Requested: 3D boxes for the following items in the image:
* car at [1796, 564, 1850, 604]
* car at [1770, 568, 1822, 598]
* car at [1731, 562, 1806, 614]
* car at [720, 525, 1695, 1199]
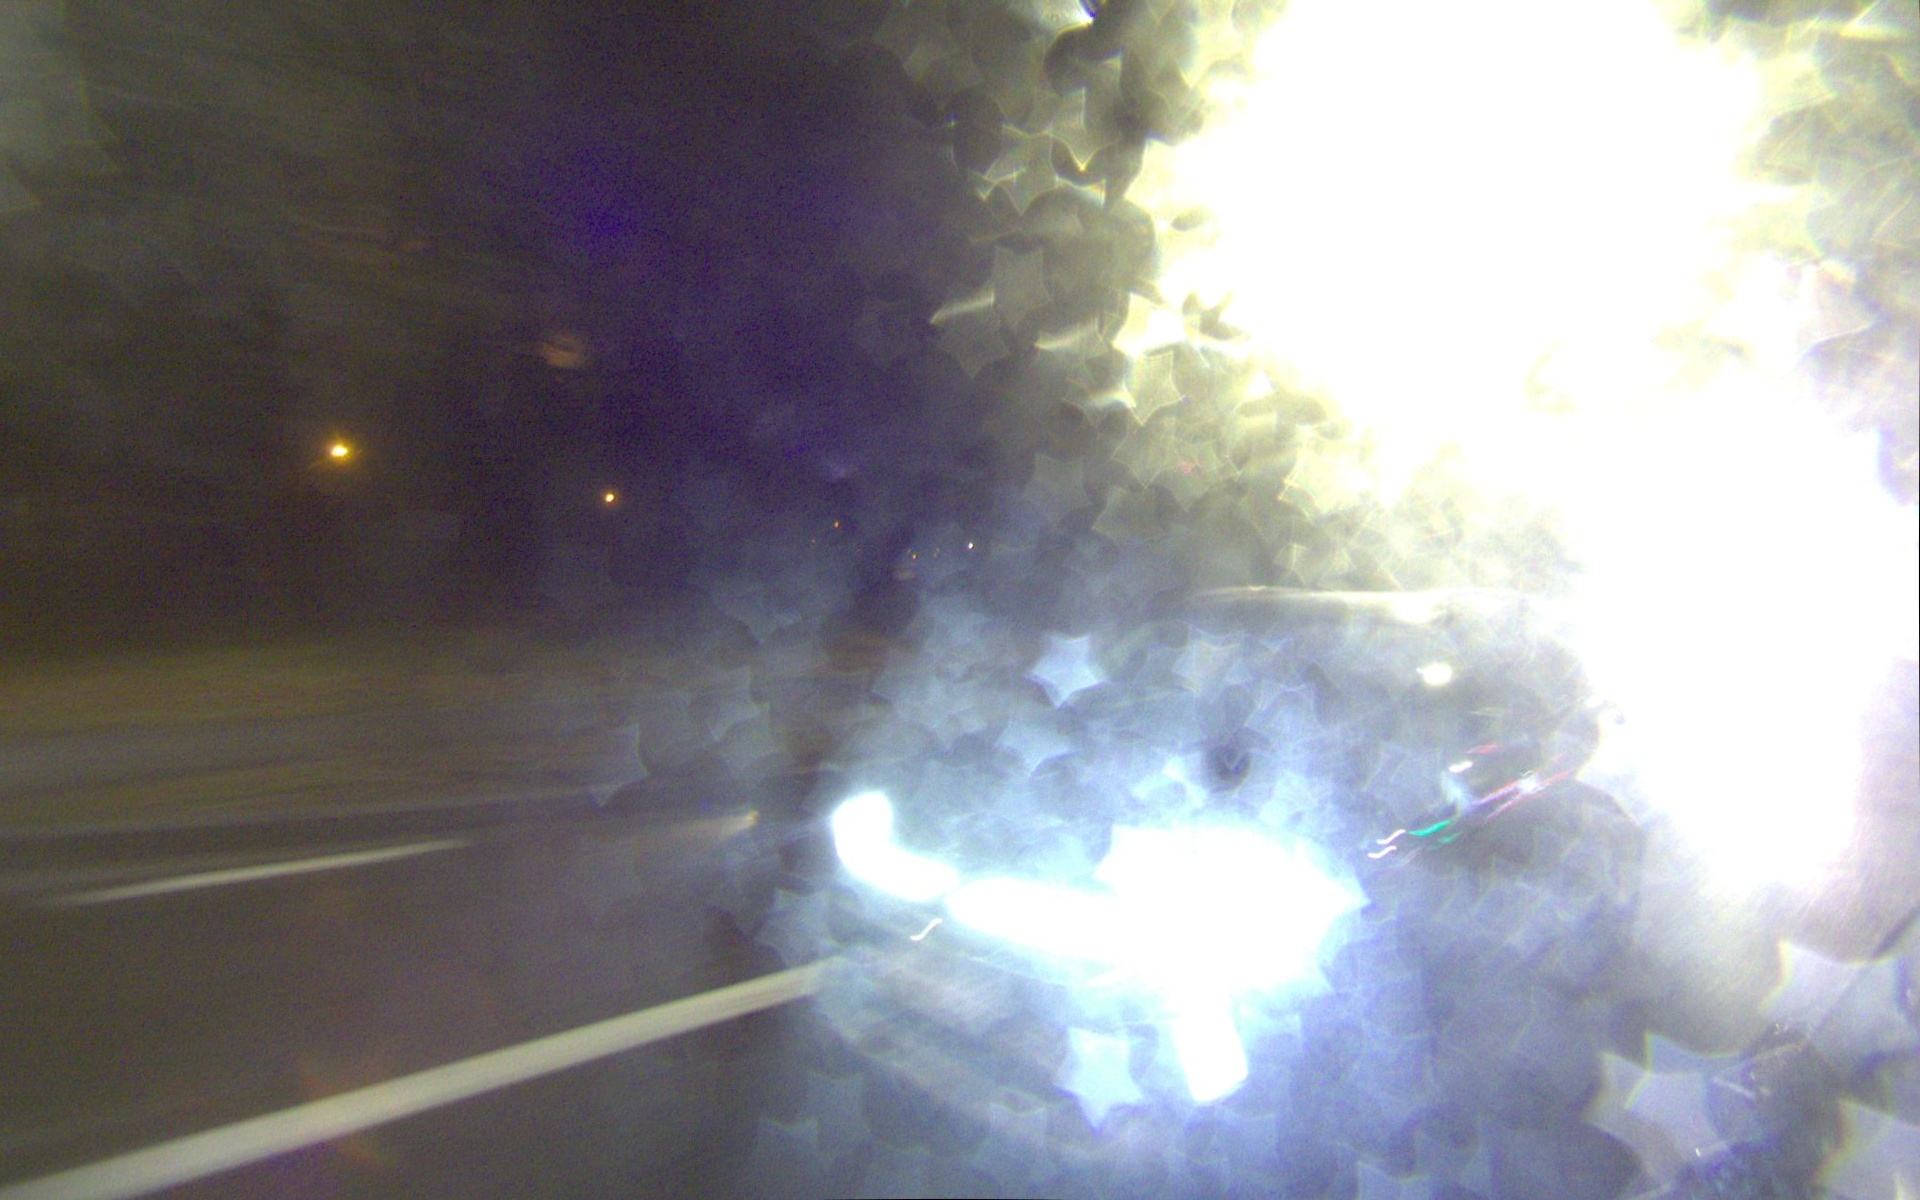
[{"bbox_3d":[46.627,-0.835,54.661,1.994,1.957,3.939,6,4,42],"label":"car"},{"bbox_3d":[60.579,-1.248,73.403,1.982,1.957,3.962,5,3,28],"label":"car"},{"bbox_3d":[30.813,-0.488,38.529,1.931,1.896,3.938,1,2,43],"label":"car"},{"bbox_3d":[1.320,0.630,3.875,1.993,1.543,3.938,1,0,43],"label":"car"}]
